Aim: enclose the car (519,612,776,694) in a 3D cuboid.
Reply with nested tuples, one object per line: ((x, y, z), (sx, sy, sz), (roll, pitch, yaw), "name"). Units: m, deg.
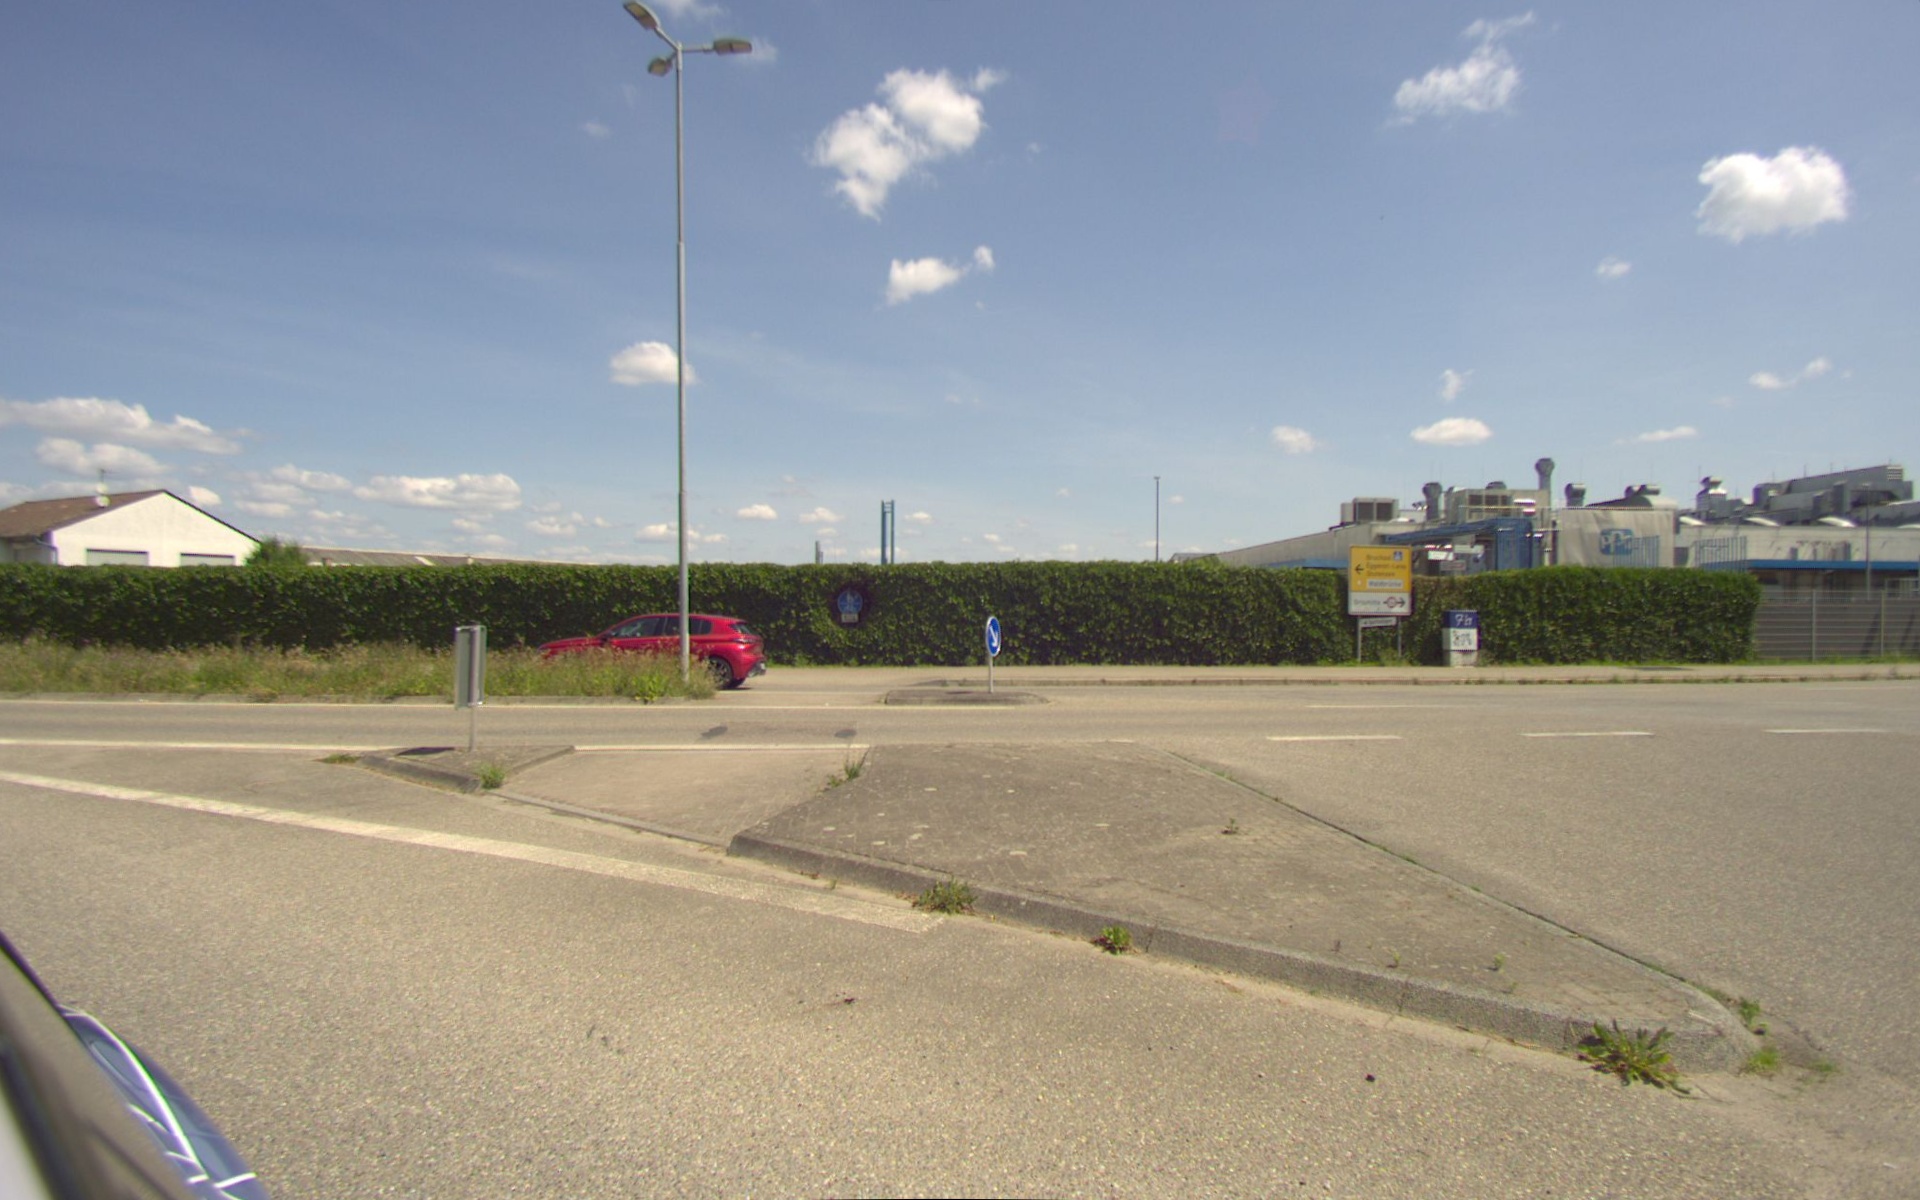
((-5.793, 0.978, 19.175), (4.323, 1.475, 1.887), (0, -2, -2), "car")
